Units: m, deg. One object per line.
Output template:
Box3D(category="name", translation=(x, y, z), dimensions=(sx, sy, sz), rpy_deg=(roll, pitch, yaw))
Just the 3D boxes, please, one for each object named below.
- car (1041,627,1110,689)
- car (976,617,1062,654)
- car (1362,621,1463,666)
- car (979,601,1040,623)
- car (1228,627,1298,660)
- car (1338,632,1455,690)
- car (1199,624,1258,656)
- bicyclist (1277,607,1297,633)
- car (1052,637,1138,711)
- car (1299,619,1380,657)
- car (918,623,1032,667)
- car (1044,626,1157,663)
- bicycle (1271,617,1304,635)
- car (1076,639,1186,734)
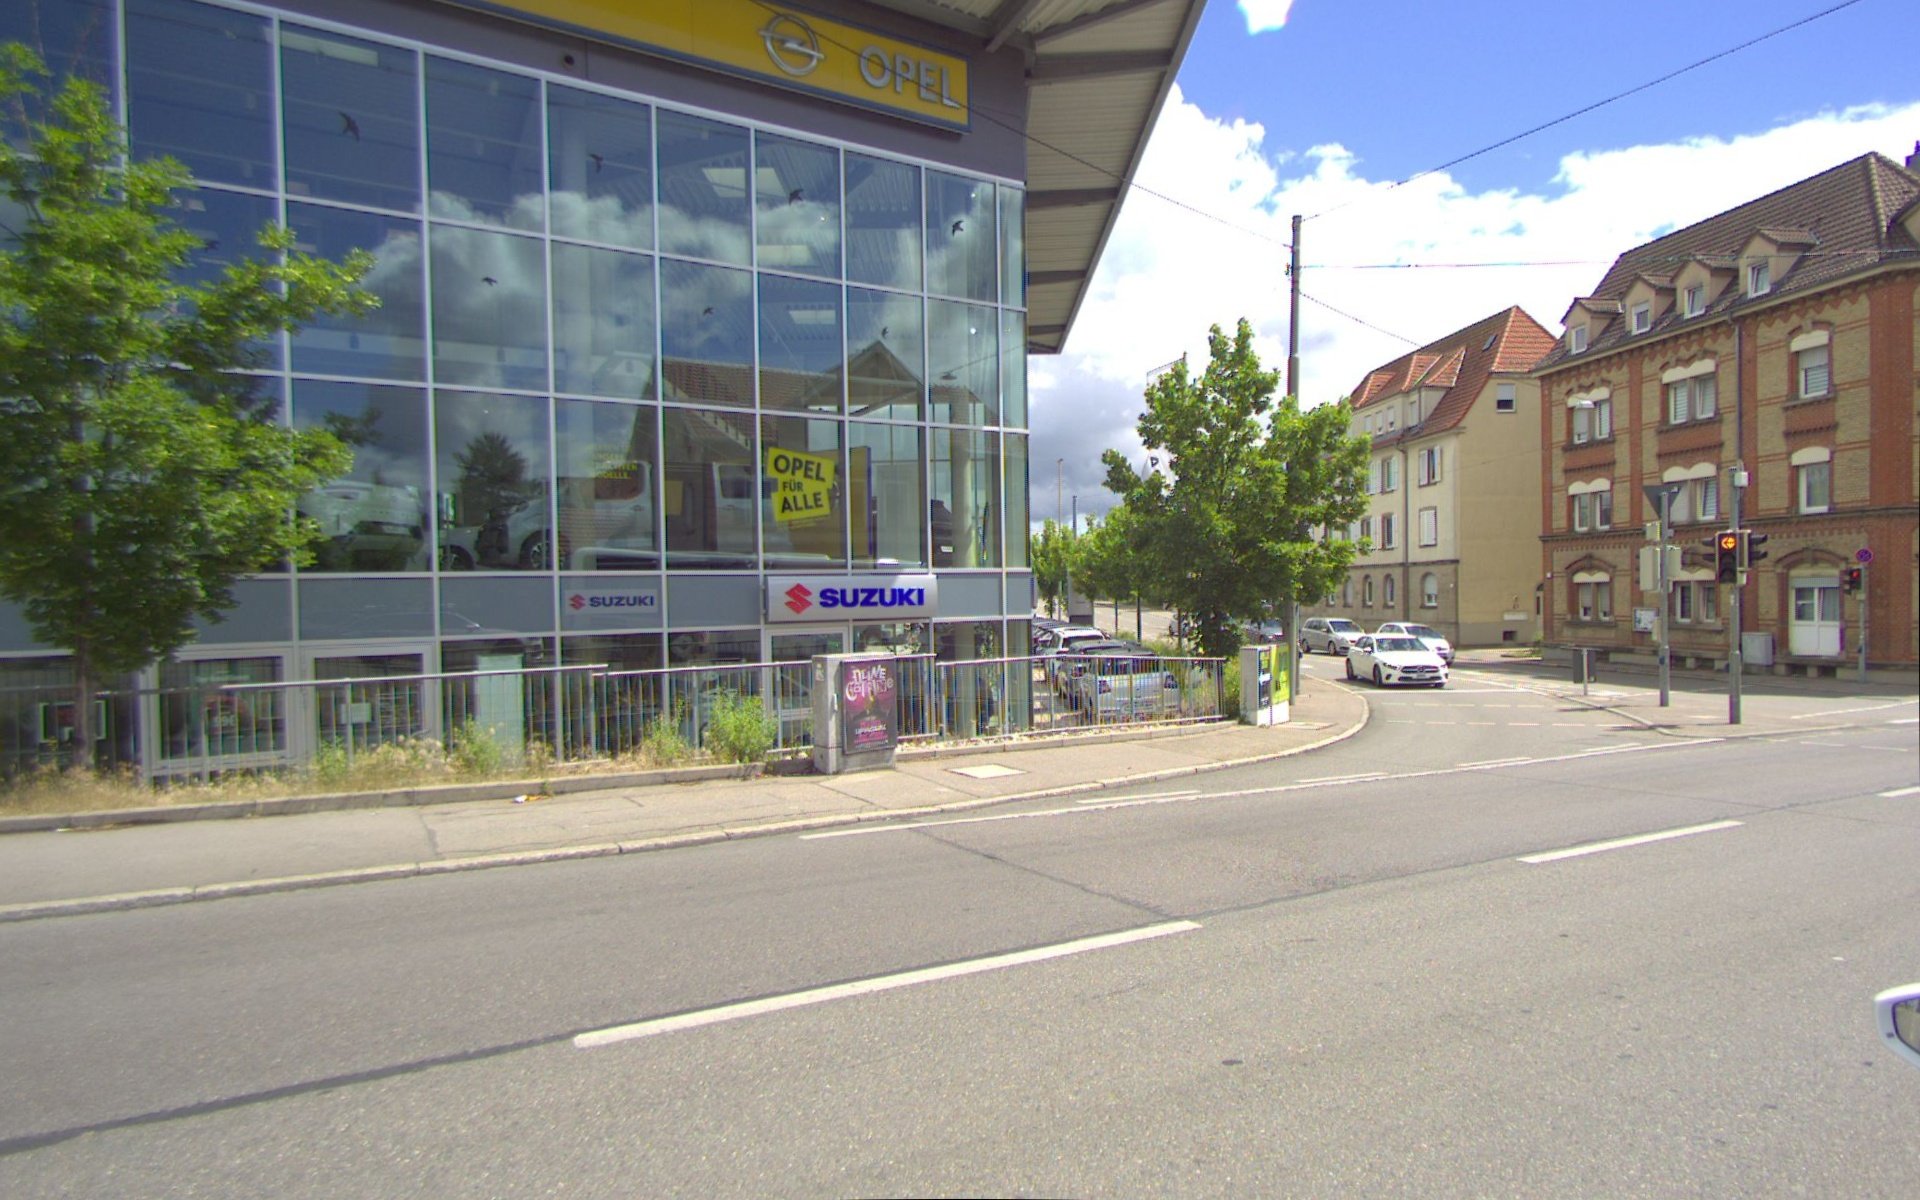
Box3D(category="car", translation=(3.277, 1.633, 29.086), dimensions=(1.487, 1.596, 3.414), rpy_deg=(1, -1, -2))
Box3D(category="car", translation=(2.645, 1.587, 45.860), dimensions=(1.974, 1.599, 4.476), rpy_deg=(1, -1, -26))
Box3D(category="car", translation=(17.060, 1.608, 38.080), dimensions=(1.670, 1.517, 3.995), rpy_deg=(1, -1, -7))
Box3D(category="car", translation=(3.212, 0.795, 66.205), dimensions=(3.921, 1.311, 1.818), rpy_deg=(1, -1, 0))
Box3D(category="car", translation=(15.330, 2.185, 51.012), dimensions=(1.963, 1.539, 3.996), rpy_deg=(1, -1, -7))
Box3D(category="car", translation=(12.366, 1.684, 28.766), dimensions=(1.825, 1.466, 4.394), rpy_deg=(1, -1, 6))
Box3D(category="car", translation=(14.842, 2.196, 55.837), dimensions=(1.961, 1.607, 4.345), rpy_deg=(1, 0, -2))
Box3D(category="bicyclist", translation=(19.130, 1.161, 58.710), dimensions=(0.581, 1.519, 1.069), rpy_deg=(1, -1, -21))
Box3D(category="car", translation=(3.228, 1.754, 24.692), dimensions=(1.487, 1.543, 3.792), rpy_deg=(1, -1, -2))
Box3D(category="car", translation=(16.733, 1.642, 44.505), dimensions=(1.715, 1.539, 3.996), rpy_deg=(1, -1, -7))
Box3D(category="car", translation=(0.567, 1.639, 37.183), dimensions=(3.919, 1.478, 1.605), rpy_deg=(1, -1, 15))
Box3D(category="car", translation=(5.163, 1.634, 37.202), dimensions=(3.921, 1.202, 1.818), rpy_deg=(1, -1, 0))
Box3D(category="bicycle", translation=(19.134, 1.494, 58.680), dimensions=(0.597, 1.033, 2.181), rpy_deg=(1, -1, -21))
Box3D(category="car", translation=(3.392, 1.689, 20.543), dimensions=(1.720, 1.596, 3.687), rpy_deg=(2, -1, 2))
